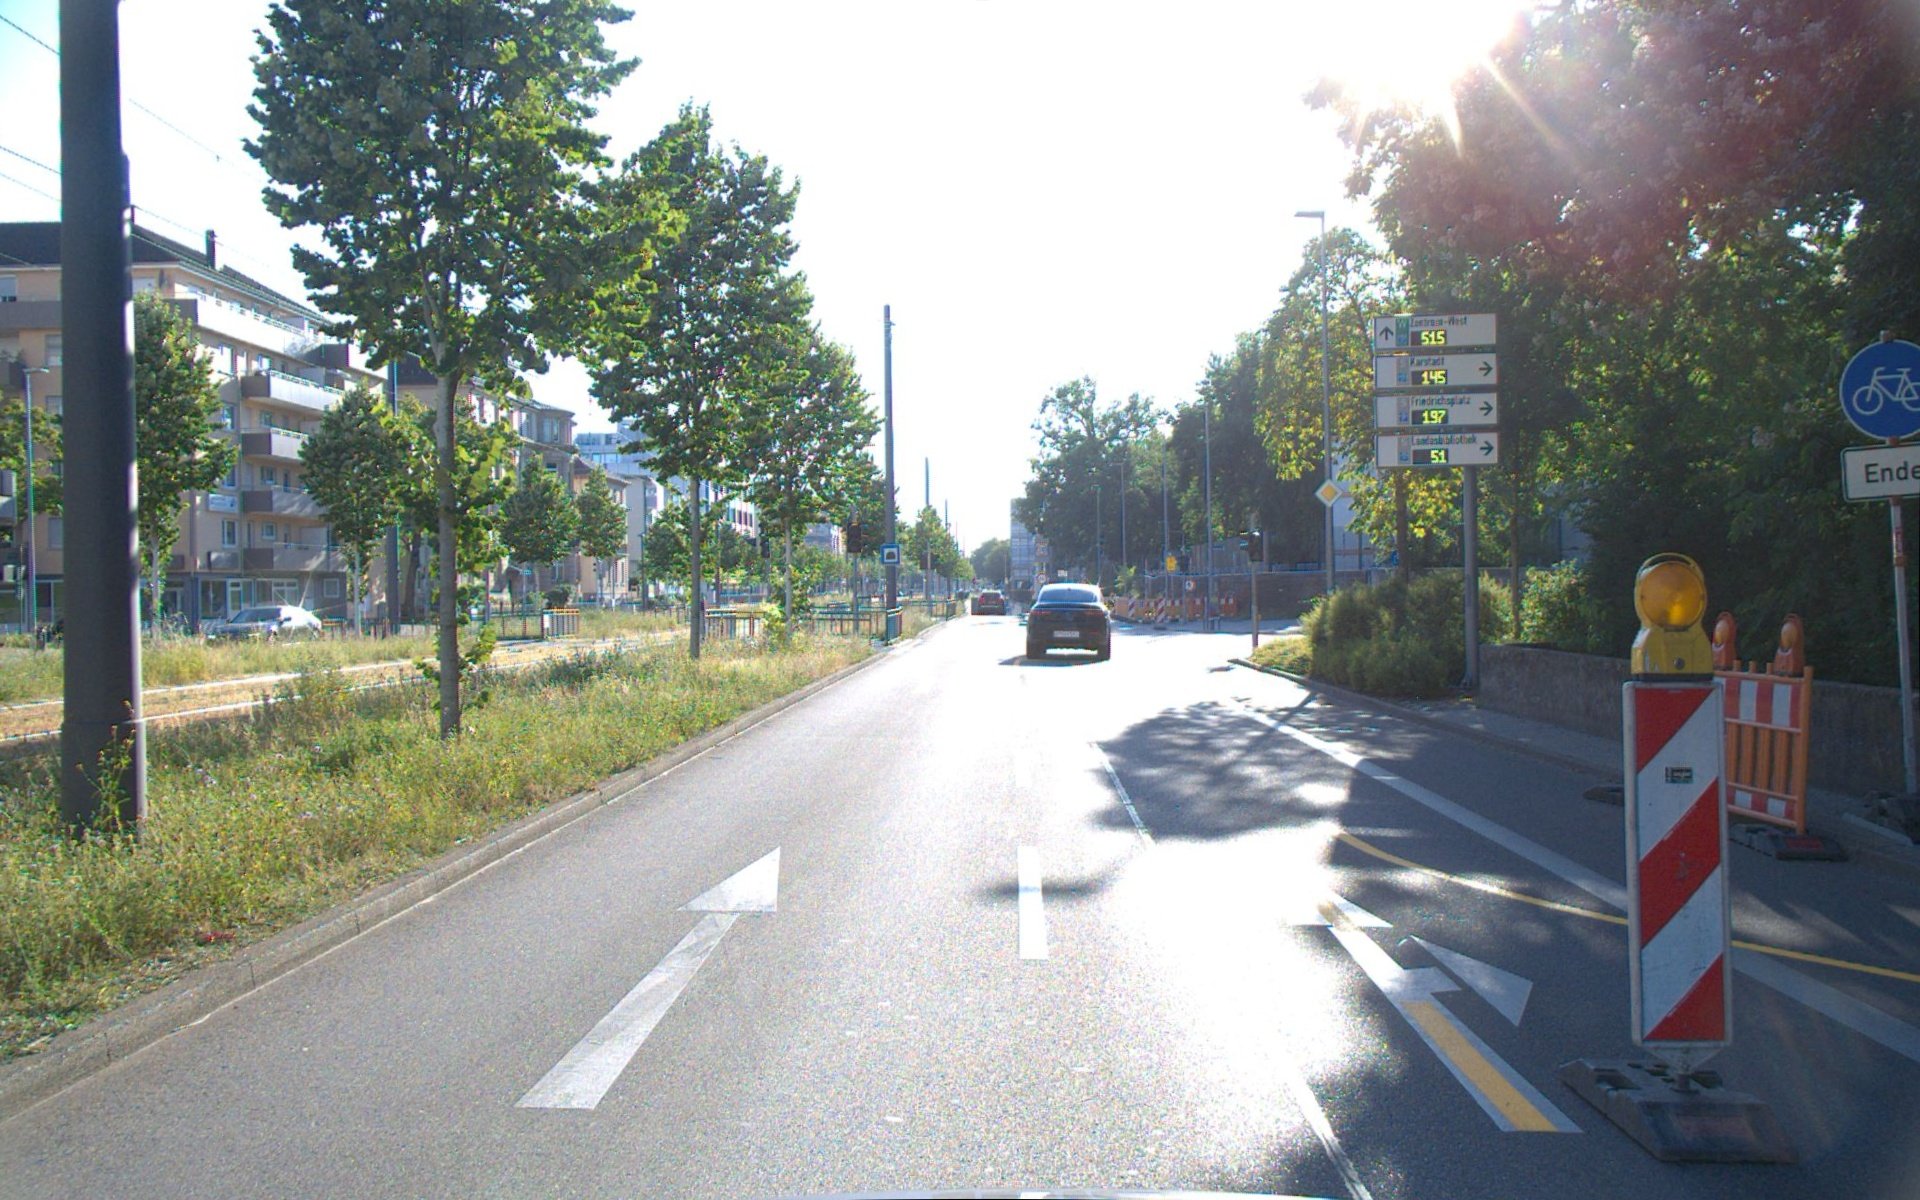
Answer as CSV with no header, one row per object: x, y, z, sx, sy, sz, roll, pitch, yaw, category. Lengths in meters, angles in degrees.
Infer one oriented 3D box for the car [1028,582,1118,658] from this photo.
2.644,0.467,39.633,1.964,1.688,4.001,1,0,1,car

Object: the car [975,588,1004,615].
1.935,0.107,107.980,1.789,1.688,4.001,1,0,1,car

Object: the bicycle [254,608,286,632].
-35.512,1.031,85.166,0.519,1.157,2.586,-1,0,1,bicycle

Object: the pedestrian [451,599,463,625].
-30.520,0.746,100.375,0.517,1.583,0.441,-1,0,-45,pedestrian

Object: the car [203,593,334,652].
-20.667,0.634,49.638,1.831,1.615,4.640,-1,0,2,car
